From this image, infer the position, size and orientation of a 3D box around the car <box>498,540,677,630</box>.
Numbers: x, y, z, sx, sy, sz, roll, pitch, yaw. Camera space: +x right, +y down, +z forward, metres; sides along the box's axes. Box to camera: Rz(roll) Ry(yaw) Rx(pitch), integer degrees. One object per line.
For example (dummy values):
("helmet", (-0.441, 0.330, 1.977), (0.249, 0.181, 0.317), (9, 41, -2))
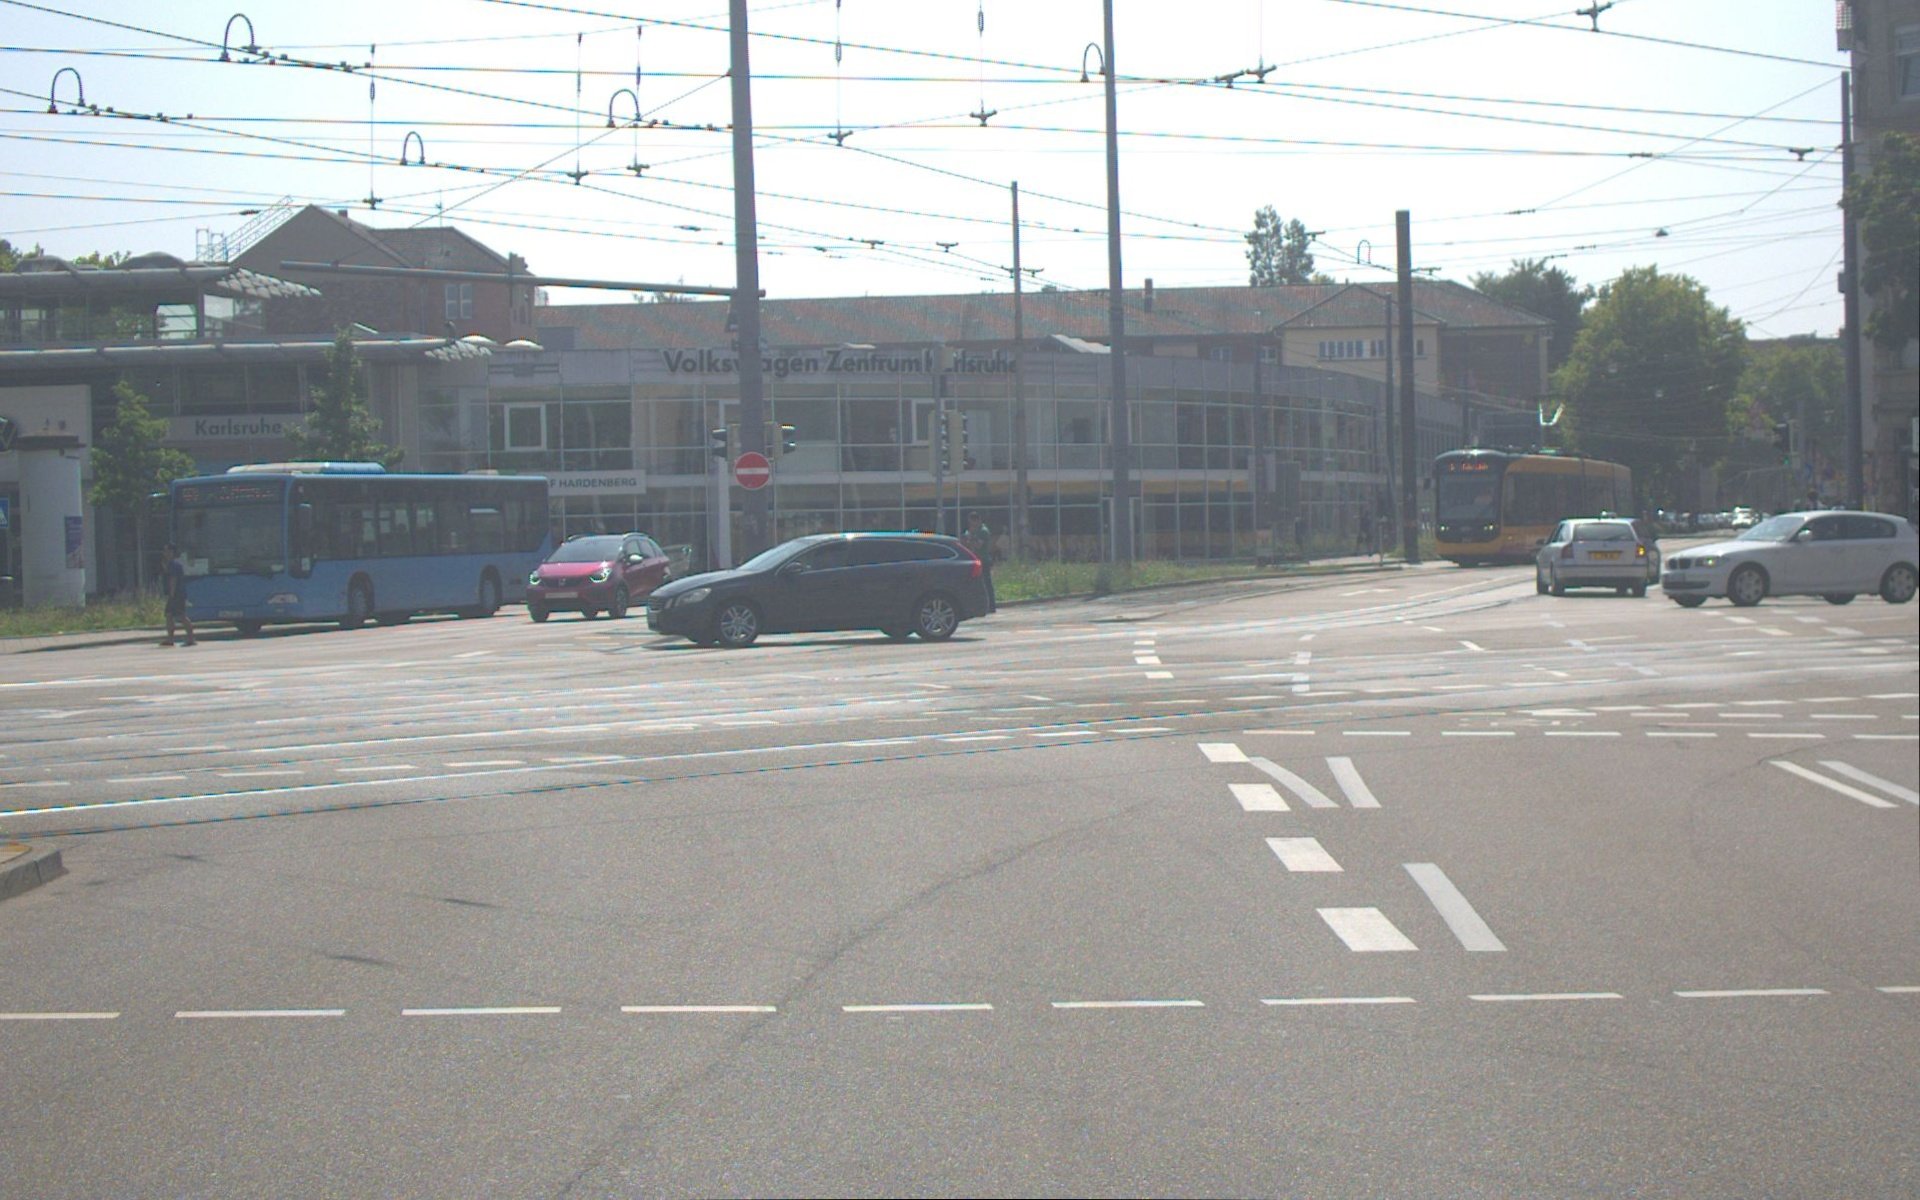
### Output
("car", (-6.821, -0.299, 63.343), (1.751, 1.546, 3.997), (-1, 1, 18))

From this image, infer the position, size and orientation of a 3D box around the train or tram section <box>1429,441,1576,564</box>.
("train or tram section", (16.626, -2.942, 104.693), (2.590, 3.504, 10.889), (-1, 1, 19))

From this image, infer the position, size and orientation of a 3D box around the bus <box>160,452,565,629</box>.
("bus", (-11.252, -1.183, 66.606), (2.564, 3.072, 12.014), (-1, 1, 17))

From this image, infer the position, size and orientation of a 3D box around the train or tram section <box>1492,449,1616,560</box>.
("train or tram section", (19.855, -3.153, 114.449), (2.590, 3.504, 9.650), (-1, 1, 18))

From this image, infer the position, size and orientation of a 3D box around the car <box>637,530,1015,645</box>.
("car", (-1.812, -0.191, 46.403), (4.752, 1.411, 1.776), (-2, 1, -19))

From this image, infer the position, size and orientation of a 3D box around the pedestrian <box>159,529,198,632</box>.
("pedestrian", (-12.785, -0.319, 56.239), (0.552, 1.678, 0.454), (-1, 1, -18))

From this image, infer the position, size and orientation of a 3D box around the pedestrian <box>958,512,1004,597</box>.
("pedestrian", (0.363, -0.788, 59.084), (0.676, 1.438, 0.366), (-1, 1, -17))

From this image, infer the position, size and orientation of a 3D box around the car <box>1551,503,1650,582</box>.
("car", (12.100, -1.101, 64.897), (1.771, 1.411, 4.187), (-1, 1, 11))

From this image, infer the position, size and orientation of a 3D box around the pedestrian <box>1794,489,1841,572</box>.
("pedestrian", (16.757, -1.362, 67.189), (0.699, 1.597, 0.573), (-1, 1, -8))

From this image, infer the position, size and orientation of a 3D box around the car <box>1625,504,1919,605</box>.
("car", (12.238, -0.694, 51.394), (4.187, 1.411, 1.776), (-2, 1, -20))
